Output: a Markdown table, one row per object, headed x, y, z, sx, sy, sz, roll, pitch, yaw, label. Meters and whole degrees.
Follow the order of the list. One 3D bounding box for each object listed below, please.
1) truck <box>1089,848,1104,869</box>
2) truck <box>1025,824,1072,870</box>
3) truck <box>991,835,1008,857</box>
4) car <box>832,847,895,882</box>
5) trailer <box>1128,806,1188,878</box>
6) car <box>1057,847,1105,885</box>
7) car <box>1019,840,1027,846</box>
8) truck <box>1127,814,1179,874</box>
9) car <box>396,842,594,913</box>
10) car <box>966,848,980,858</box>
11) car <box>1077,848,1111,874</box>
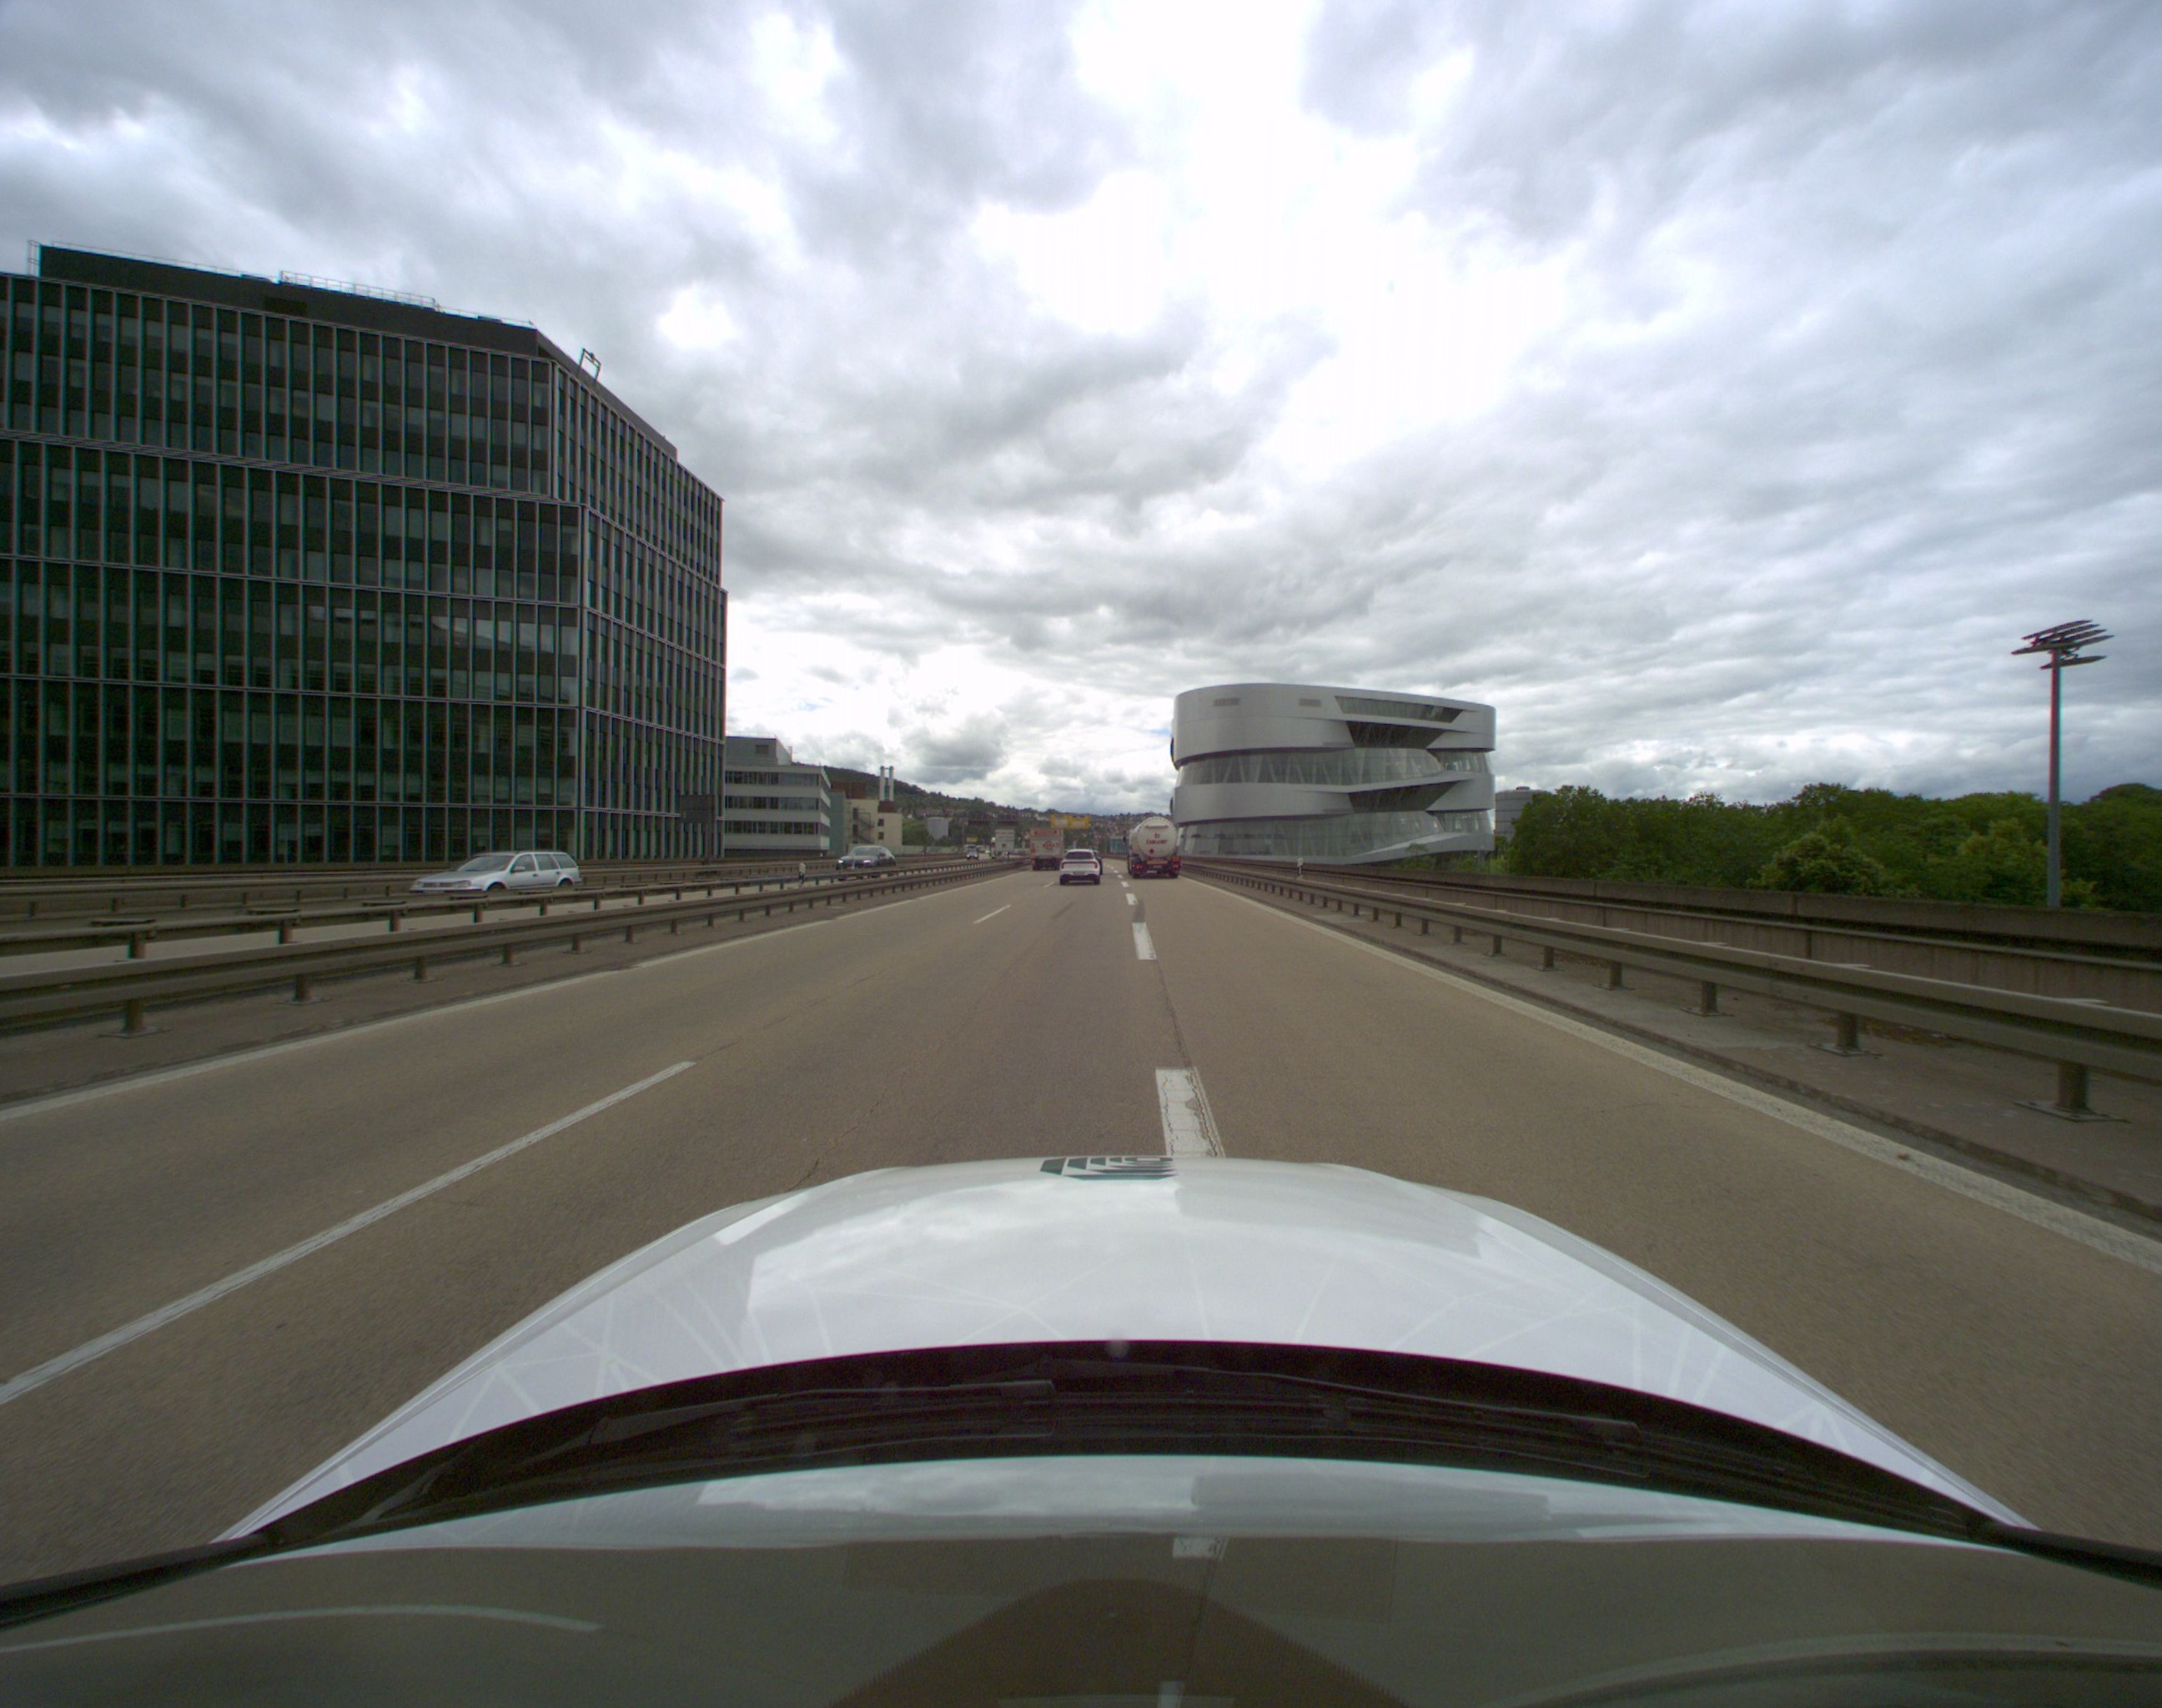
| x | y | z | sx | sy | sz | roll | pitch | yaw | label |
| --- | --- | --- | --- | --- | --- | --- | --- | --- | --- |
| 3.510 | 1.020 | 184.915 | 3.048 | 4.562 | 8.299 | -1 | 0 | -1 | truck |
| -2.697 | -0.542 | 69.860 | 3.043 | 3.691 | 8.313 | -1 | 0 | 4 | truck |
| -15.473 | -1.482 | 155.017 | 2.764 | 4.079 | 5.643 | -1 | -1 | -1 | truck |
| -10.885 | 0.510 | 41.138 | 1.755 | 1.650 | 4.338 | 1 | 0 | 3 | car |
| 4.383 | -0.624 | 47.845 | 3.045 | 3.790 | 8.309 | -1 | 0 | 2 | trailer |
| 0.070 | 0.570 | 39.239 | 1.984 | 1.675 | 4.413 | -1 | -1 | 4 | car |
| -16.027 | -2.961 | 225.457 | 1.990 | 1.606 | 4.800 | -1 | -1 | -4 | car |
| 4.598 | -0.563 | 53.216 | 3.002 | 3.657 | 6.276 | -1 | -1 | 2 | truck |
| -14.945 | 0.564 | 21.141 | 1.675 | 1.650 | 4.452 | 0 | 0 | 4 | car |
| -17.880 | -0.116 | 134.872 | 1.678 | 1.650 | 4.358 | 0 | 0 | -1 | car |
| 0.894 | 0.479 | 54.806 | 1.984 | 1.675 | 4.413 | -1 | -1 | 4 | car |
